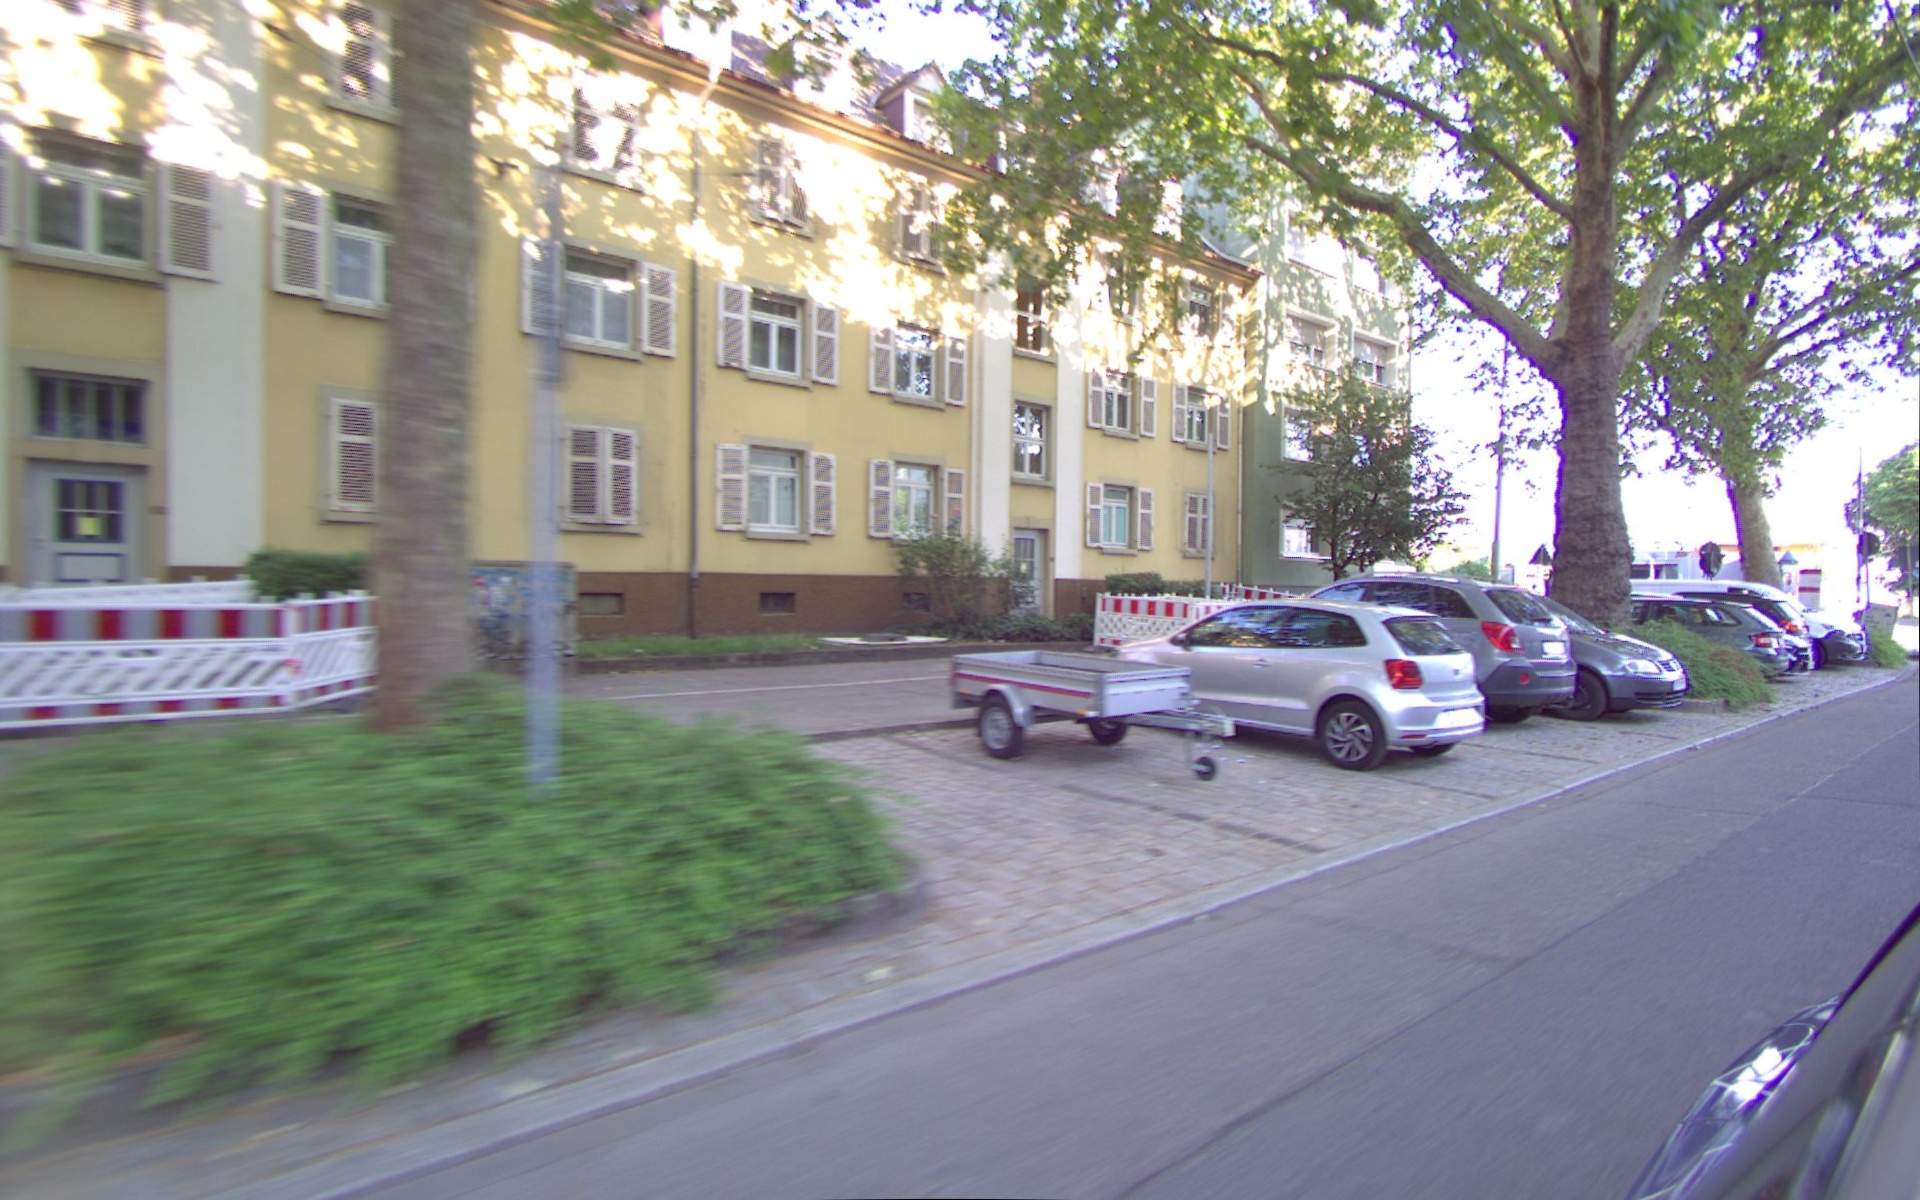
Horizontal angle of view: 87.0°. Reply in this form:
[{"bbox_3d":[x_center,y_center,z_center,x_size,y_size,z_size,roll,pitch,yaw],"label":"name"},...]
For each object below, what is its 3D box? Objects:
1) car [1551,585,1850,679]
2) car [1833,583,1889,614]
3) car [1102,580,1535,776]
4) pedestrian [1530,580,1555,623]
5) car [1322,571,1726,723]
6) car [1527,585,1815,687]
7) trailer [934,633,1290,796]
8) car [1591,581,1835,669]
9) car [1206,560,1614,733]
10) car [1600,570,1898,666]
[{"bbox_3d":[14.341,0.526,19.823,1.785,1.542,4.410,0,2,-39],"label":"car"},{"bbox_3d":[46.483,-0.051,52.264,1.630,1.455,3.527,-3,-3,34],"label":"car"},{"bbox_3d":[3.420,0.604,10.176,1.832,1.441,3.661,0,3,-39],"label":"car"},{"bbox_3d":[22.520,0.048,39.135,0.677,1.652,0.640,0,0,12],"label":"pedestrian"},{"bbox_3d":[7.459,0.473,13.761,1.875,1.678,4.433,-1,2,-41],"label":"car"},{"bbox_3d":[12.428,0.535,17.858,1.712,1.516,3.886,0,2,-43],"label":"car"},{"bbox_3d":[1.176,0.873,8.872,1.409,0.914,3.052,-1,3,-34],"label":"trailer"},{"bbox_3d":[16.020,0.452,21.670,1.764,1.625,3.882,0,2,-40],"label":"car"},{"bbox_3d":[5.390,0.410,12.682,1.806,1.753,4.322,1,2,-36],"label":"car"},{"bbox_3d":[17.956,0.287,23.298,1.881,1.878,5.124,-1,3,-40],"label":"car"}]
